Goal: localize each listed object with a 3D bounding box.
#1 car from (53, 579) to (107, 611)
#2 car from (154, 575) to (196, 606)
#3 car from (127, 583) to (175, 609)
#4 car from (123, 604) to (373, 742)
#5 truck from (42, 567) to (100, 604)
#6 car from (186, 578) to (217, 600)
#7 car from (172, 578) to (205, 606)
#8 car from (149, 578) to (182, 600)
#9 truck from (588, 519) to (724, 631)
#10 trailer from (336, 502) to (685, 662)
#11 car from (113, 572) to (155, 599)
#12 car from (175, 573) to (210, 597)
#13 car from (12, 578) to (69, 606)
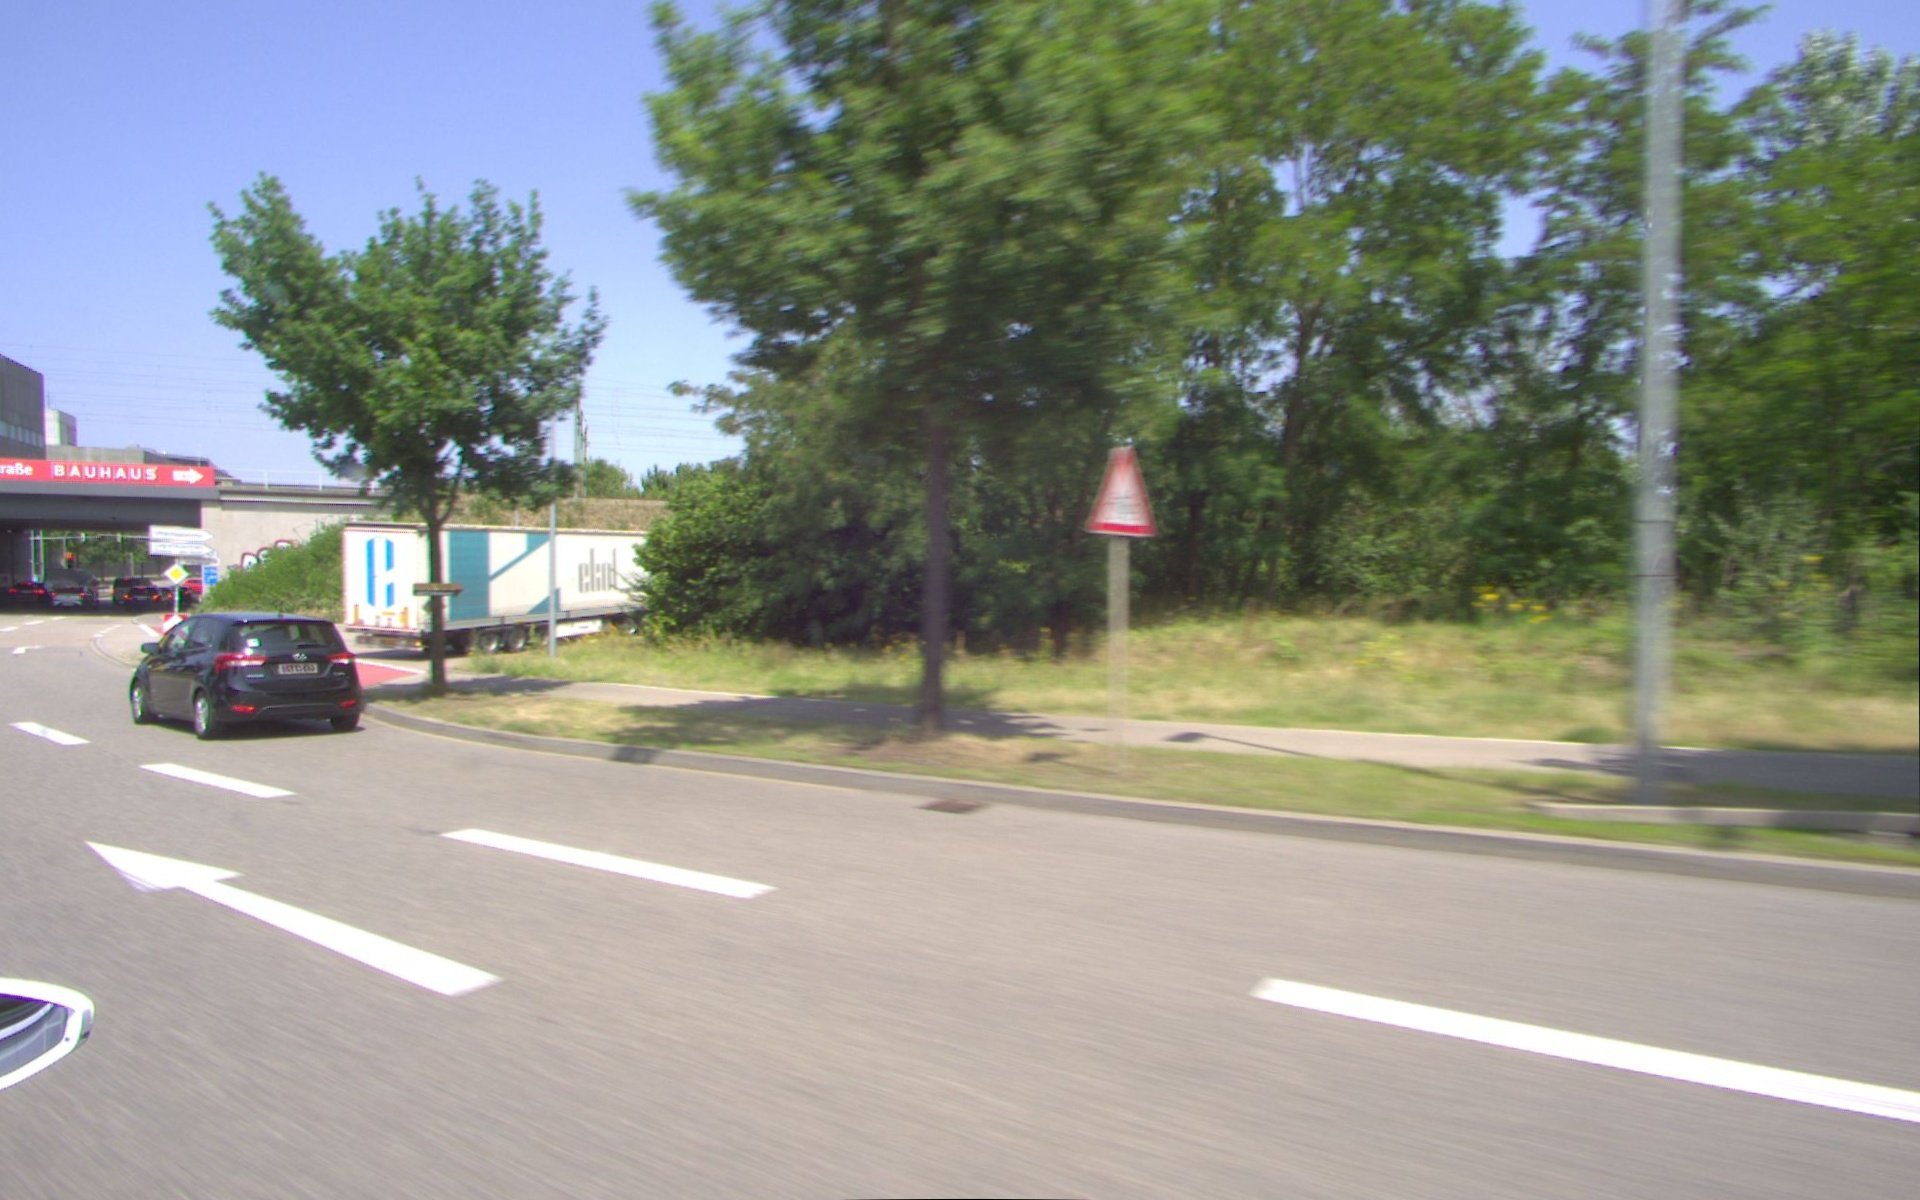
[{"bbox_3d":[-54.961,-0.326,62.594,1.820,1.915,3.977,0,1,-31],"label":"car"},{"bbox_3d":[-54.408,-0.672,69.487,1.714,2.041,3.776,-3,2,-31],"label":"car"},{"bbox_3d":[-51.668,-0.282,64.047,1.820,1.589,3.977,0,0,-31],"label":"car"},{"bbox_3d":[-9.973,0.905,13.928,4.026,1.620,1.761,1,-1,38],"label":"car"},{"bbox_3d":[-63.533,-1.052,71.631,2.042,2.572,3.981,-1,2,-27],"label":"truck"},{"bbox_3d":[-72.480,-1.060,95.752,1.972,2.040,3.977,0,1,-31],"label":"car"},{"bbox_3d":[-57.116,-0.604,74.156,1.605,2.041,3.516,-3,2,-34],"label":"car"},{"bbox_3d":[-76.995,-1.046,97.093,1.972,2.041,3.976,0,1,-32],"label":"car"},{"bbox_3d":[-13.042,-1.118,43.489,3.028,4.429,6.069,3,3,13],"label":"truck"},{"bbox_3d":[-14.806,-0.778,35.602,3.030,4.429,14.752,3,3,13],"label":"trailer"},{"bbox_3d":[-61.862,-1.067,75.080,1.820,1.915,3.977,0,1,-31],"label":"car"},{"bbox_3d":[-64.356,-1.242,84.030,1.820,1.915,3.977,0,1,-31],"label":"car"},{"bbox_3d":[-59.786,-0.541,65.189,1.919,1.744,3.977,0,1,-31],"label":"car"}]
